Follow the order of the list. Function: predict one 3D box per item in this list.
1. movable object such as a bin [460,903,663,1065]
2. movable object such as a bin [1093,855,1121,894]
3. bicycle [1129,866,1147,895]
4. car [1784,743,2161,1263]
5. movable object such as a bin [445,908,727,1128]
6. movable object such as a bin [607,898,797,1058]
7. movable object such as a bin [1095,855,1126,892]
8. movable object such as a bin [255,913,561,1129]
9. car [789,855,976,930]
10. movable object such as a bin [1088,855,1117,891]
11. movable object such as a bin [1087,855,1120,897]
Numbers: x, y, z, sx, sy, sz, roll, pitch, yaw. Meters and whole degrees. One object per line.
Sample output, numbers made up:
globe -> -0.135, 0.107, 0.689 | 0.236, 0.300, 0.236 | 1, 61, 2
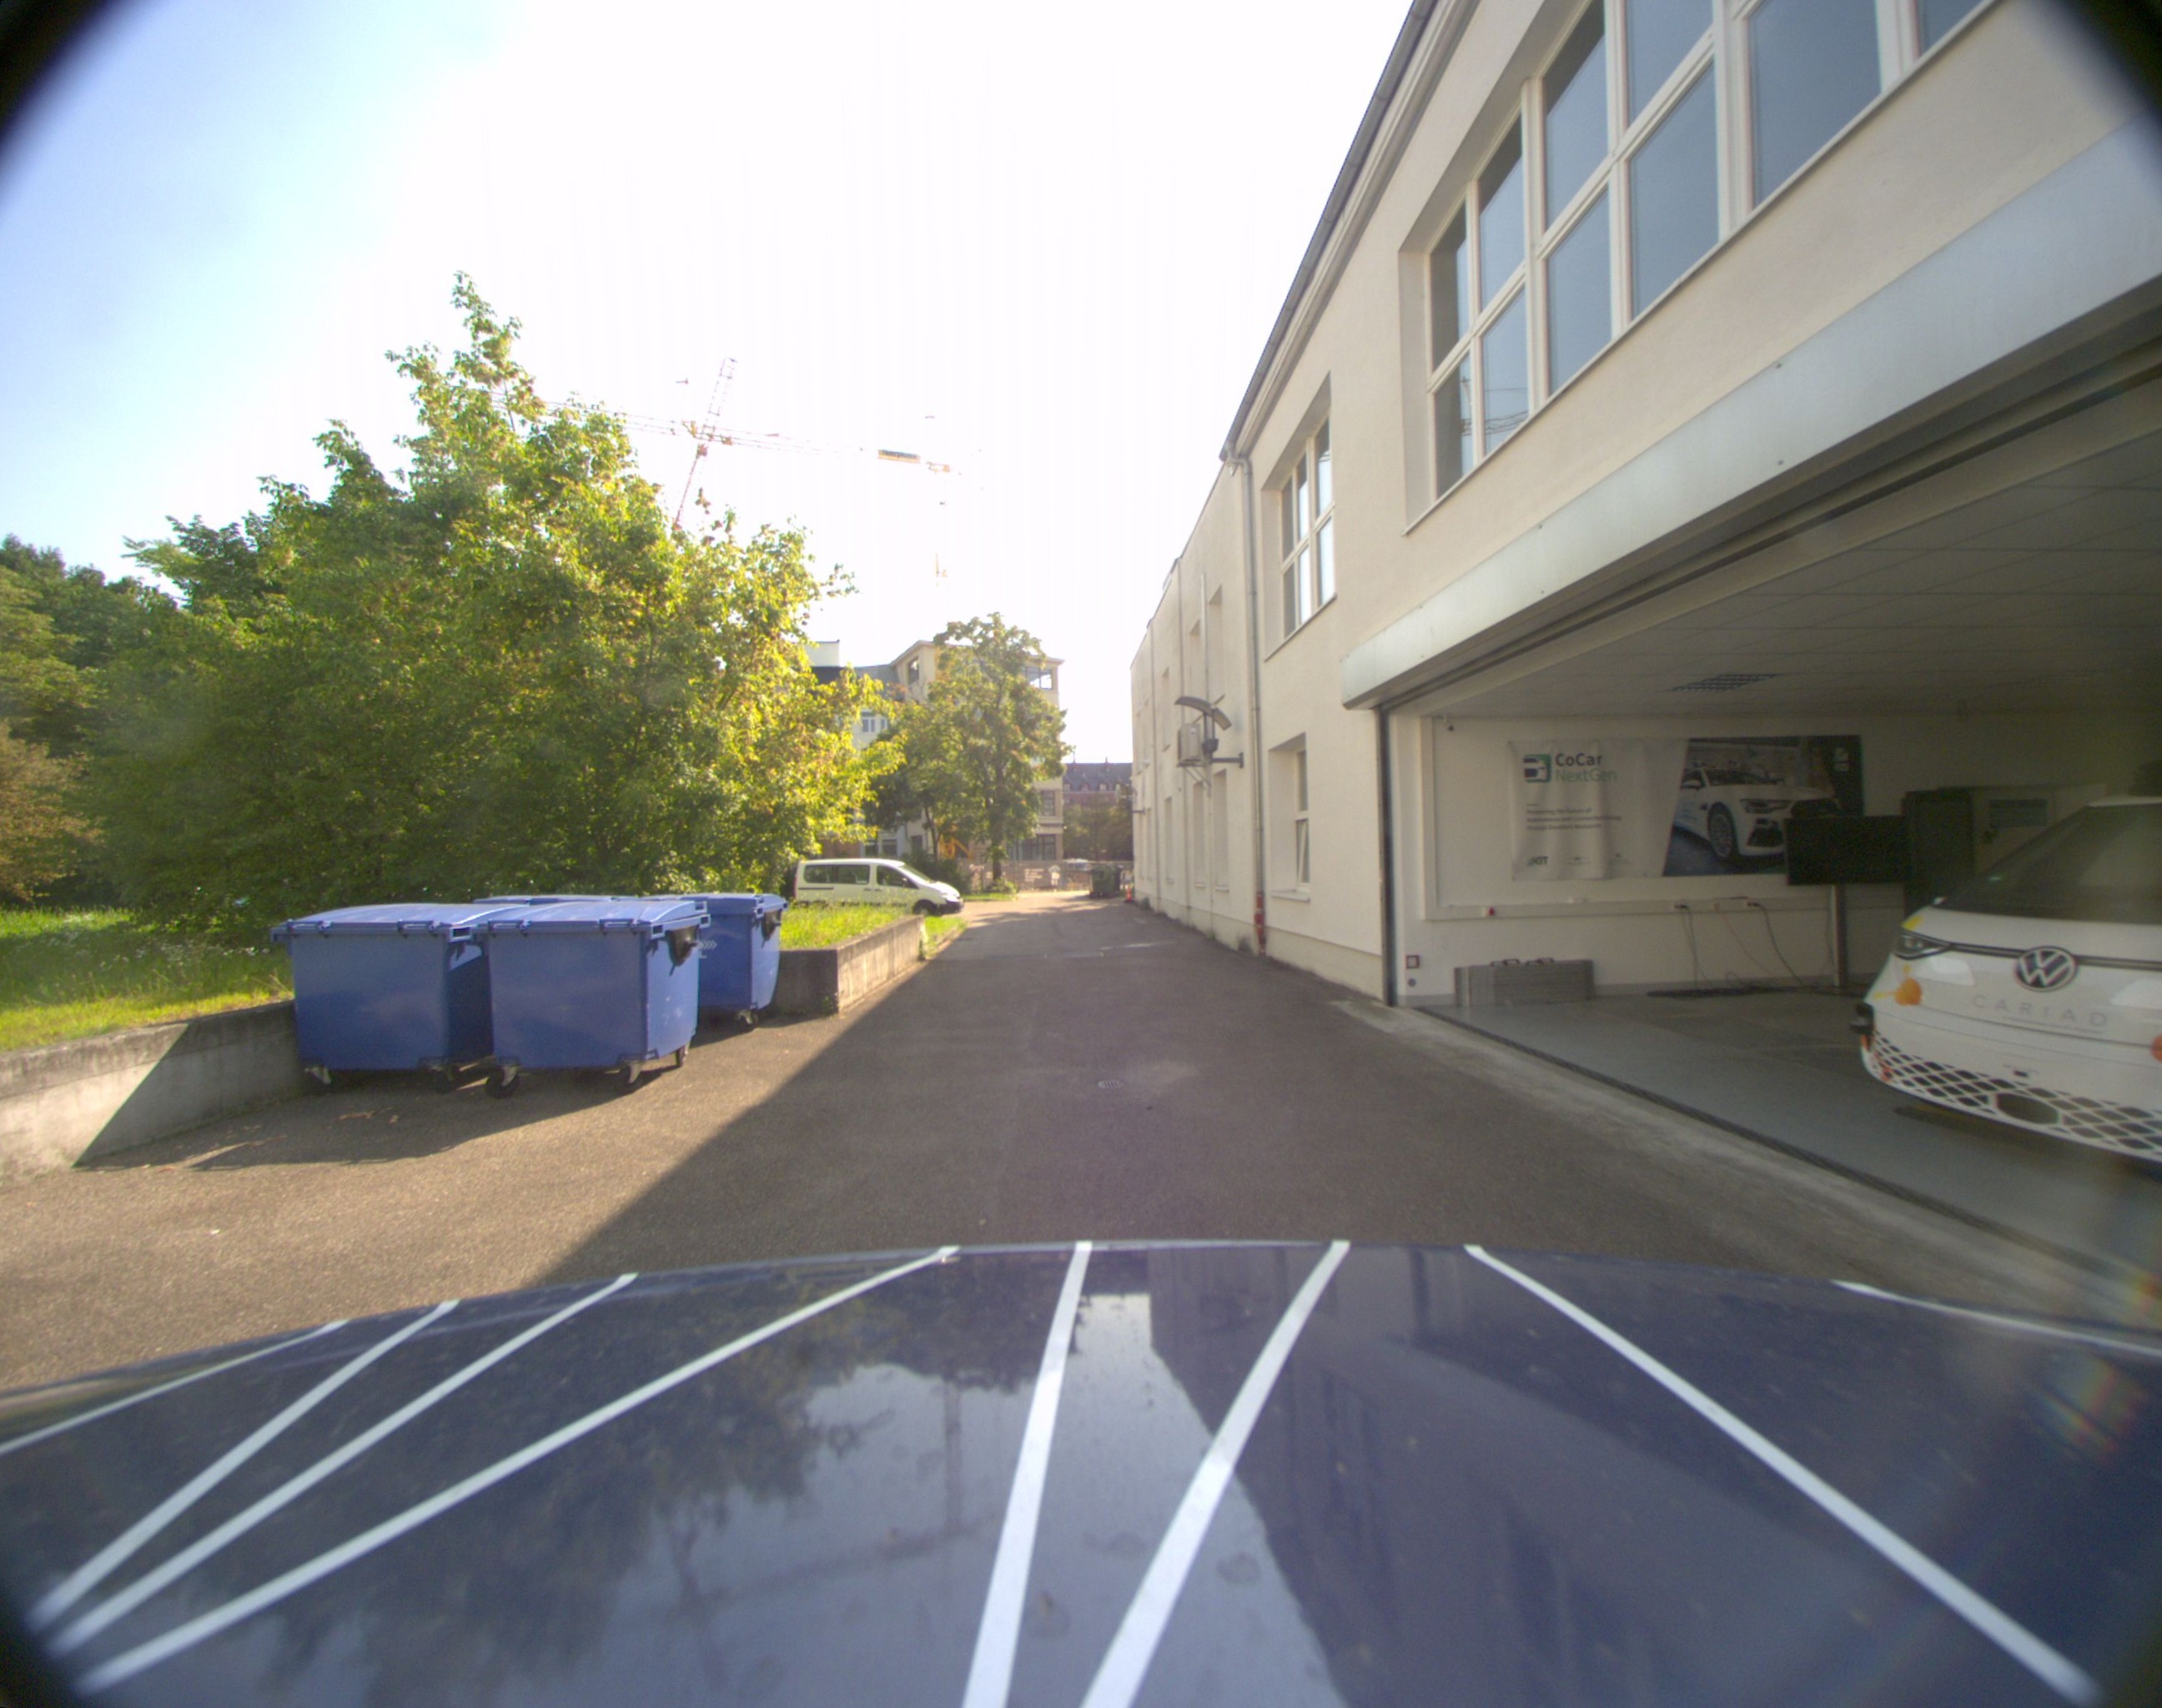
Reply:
movable object such as a bin -> -4.983, 1.201, 7.416 | 1.230, 1.332, 1.076 | -2, 1, -7
movable object such as a bin -> 1.176, 0.915, 34.341 | 1.183, 1.696, 1.395 | -2, 1, 1
bicycle -> 2.569, 1.183, 34.137 | 0.477, 1.206, 2.007 | -2, 0, -4
car -> 6.646, 0.496, 3.621 | 4.760, 2.080, 2.055 | -3, 1, -3
movable object such as a bin -> -3.605, 1.145, 5.718 | 1.304, 1.332, 1.194 | -2, 1, -3
movable object such as a bin -> -3.650, 1.155, 7.470 | 1.313, 1.332, 1.099 | -2, 1, -6
movable object such as a bin -> 1.389, 0.900, 35.761 | 1.184, 1.696, 1.376 | -2, 1, -7
movable object such as a bin -> -4.936, 1.174, 5.698 | 1.238, 1.332, 1.117 | -2, 1, 1
car -> -5.817, 1.118, 22.786 | 4.970, 1.910, 2.043 | -2, 1, -1
movable object such as a bin -> 1.054, 0.903, 37.144 | 1.184, 1.696, 1.376 | -2, 1, -7
movable object such as a bin -> 0.946, 0.933, 32.527 | 1.184, 1.696, 1.376 | -2, 1, -7
